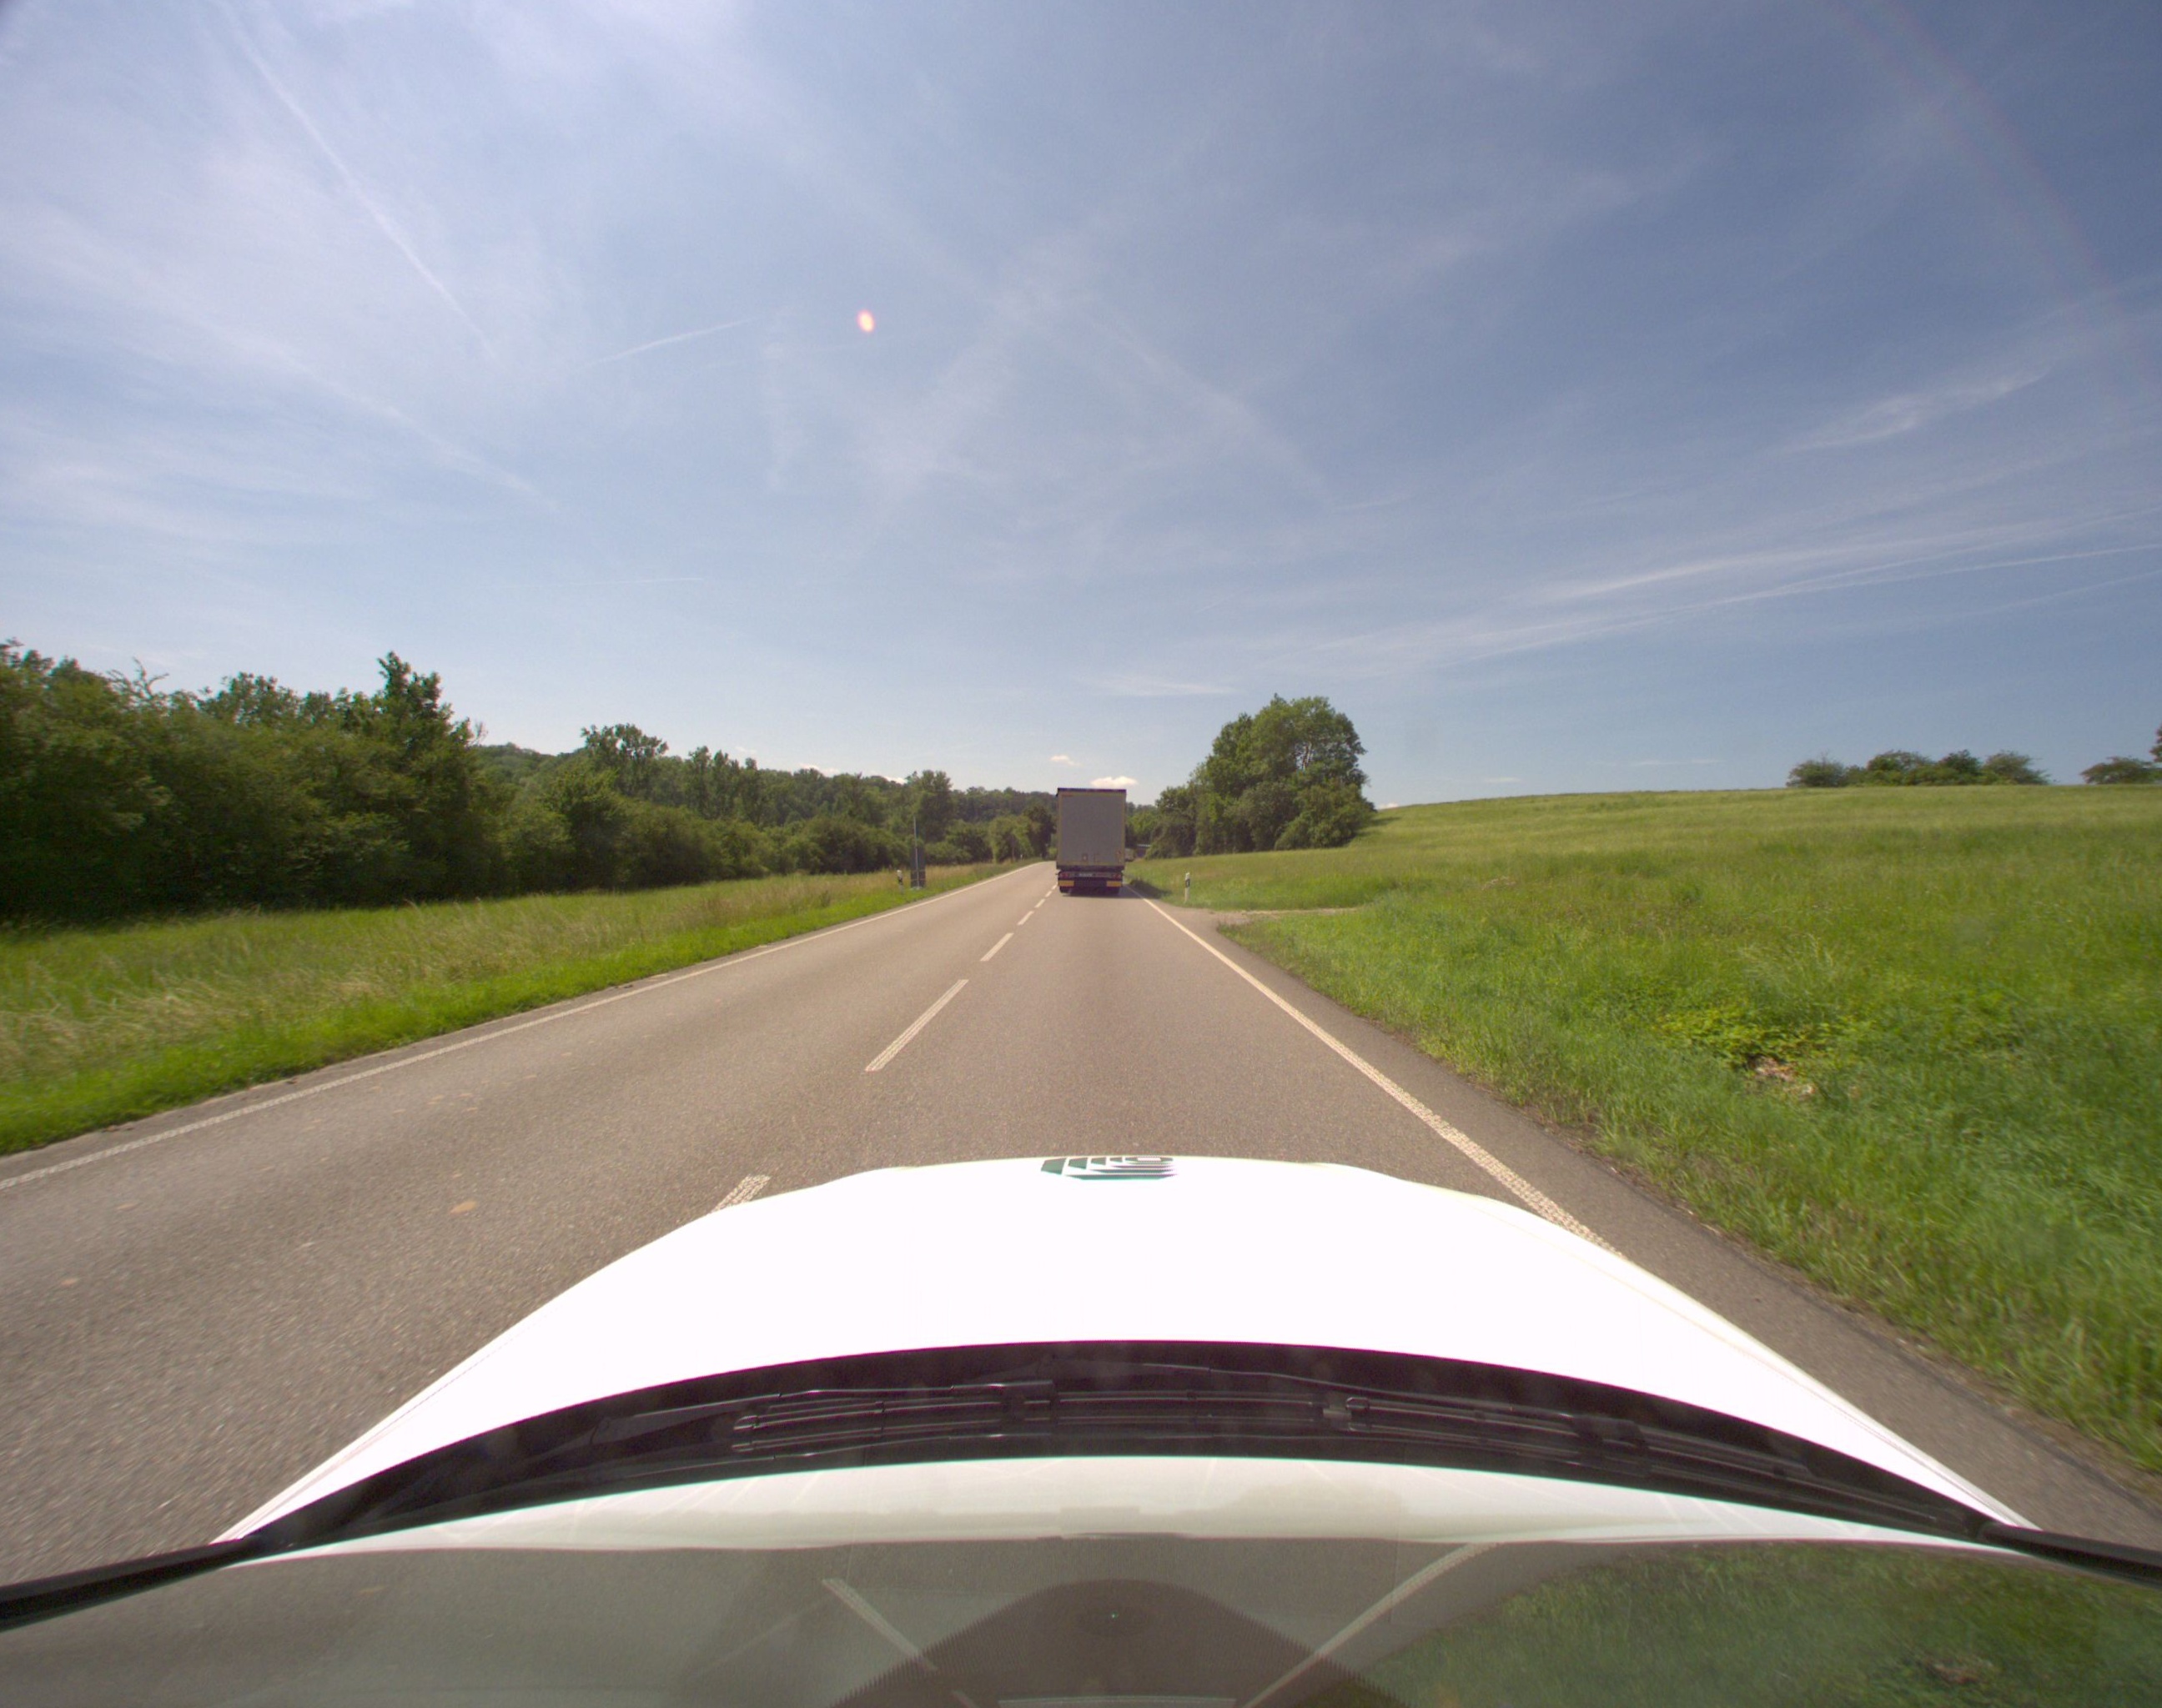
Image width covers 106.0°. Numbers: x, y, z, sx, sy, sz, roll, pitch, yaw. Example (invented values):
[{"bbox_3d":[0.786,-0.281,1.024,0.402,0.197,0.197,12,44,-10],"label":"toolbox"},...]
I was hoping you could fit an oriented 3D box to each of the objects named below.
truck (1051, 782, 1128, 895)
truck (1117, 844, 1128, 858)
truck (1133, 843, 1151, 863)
[{"bbox_3d":[0.175,-0.523,37.340,2.793,4.069,15.317,0,0,-1],"label":"truck"},{"bbox_3d":[8.802,-0.713,172.926,2.344,2.825,5.063,-2,0,3],"label":"truck"},{"bbox_3d":[14.793,-0.151,196.251,3.285,4.386,13.443,-1,-1,8],"label":"truck"}]
